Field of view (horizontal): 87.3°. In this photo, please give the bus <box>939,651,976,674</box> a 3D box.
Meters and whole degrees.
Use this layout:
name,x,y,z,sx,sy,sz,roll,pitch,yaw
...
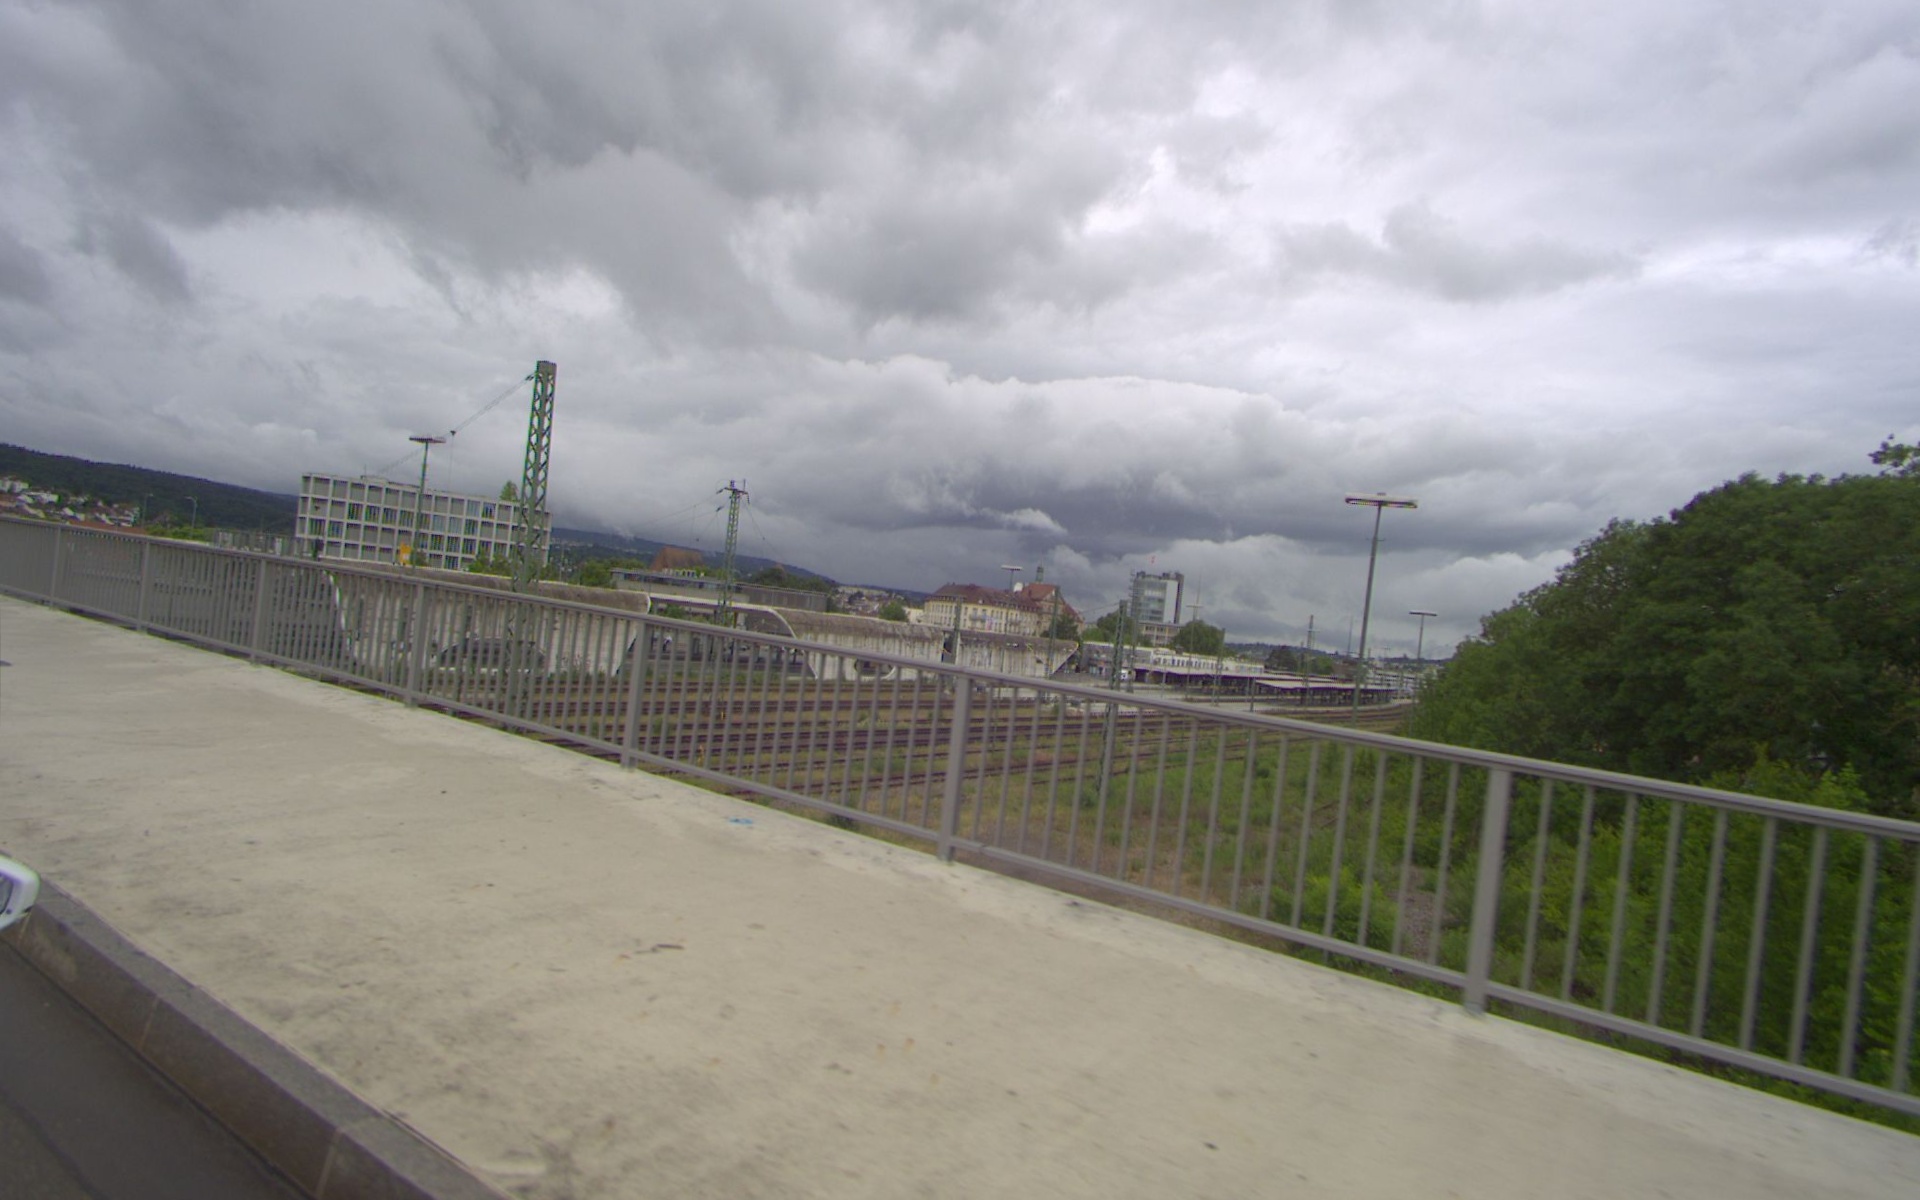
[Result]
name,x,y,z,sx,sy,sz,roll,pitch,yaw
bus,-0.371,10.620,171.194,2.567,3.246,6.981,6,-2,33
